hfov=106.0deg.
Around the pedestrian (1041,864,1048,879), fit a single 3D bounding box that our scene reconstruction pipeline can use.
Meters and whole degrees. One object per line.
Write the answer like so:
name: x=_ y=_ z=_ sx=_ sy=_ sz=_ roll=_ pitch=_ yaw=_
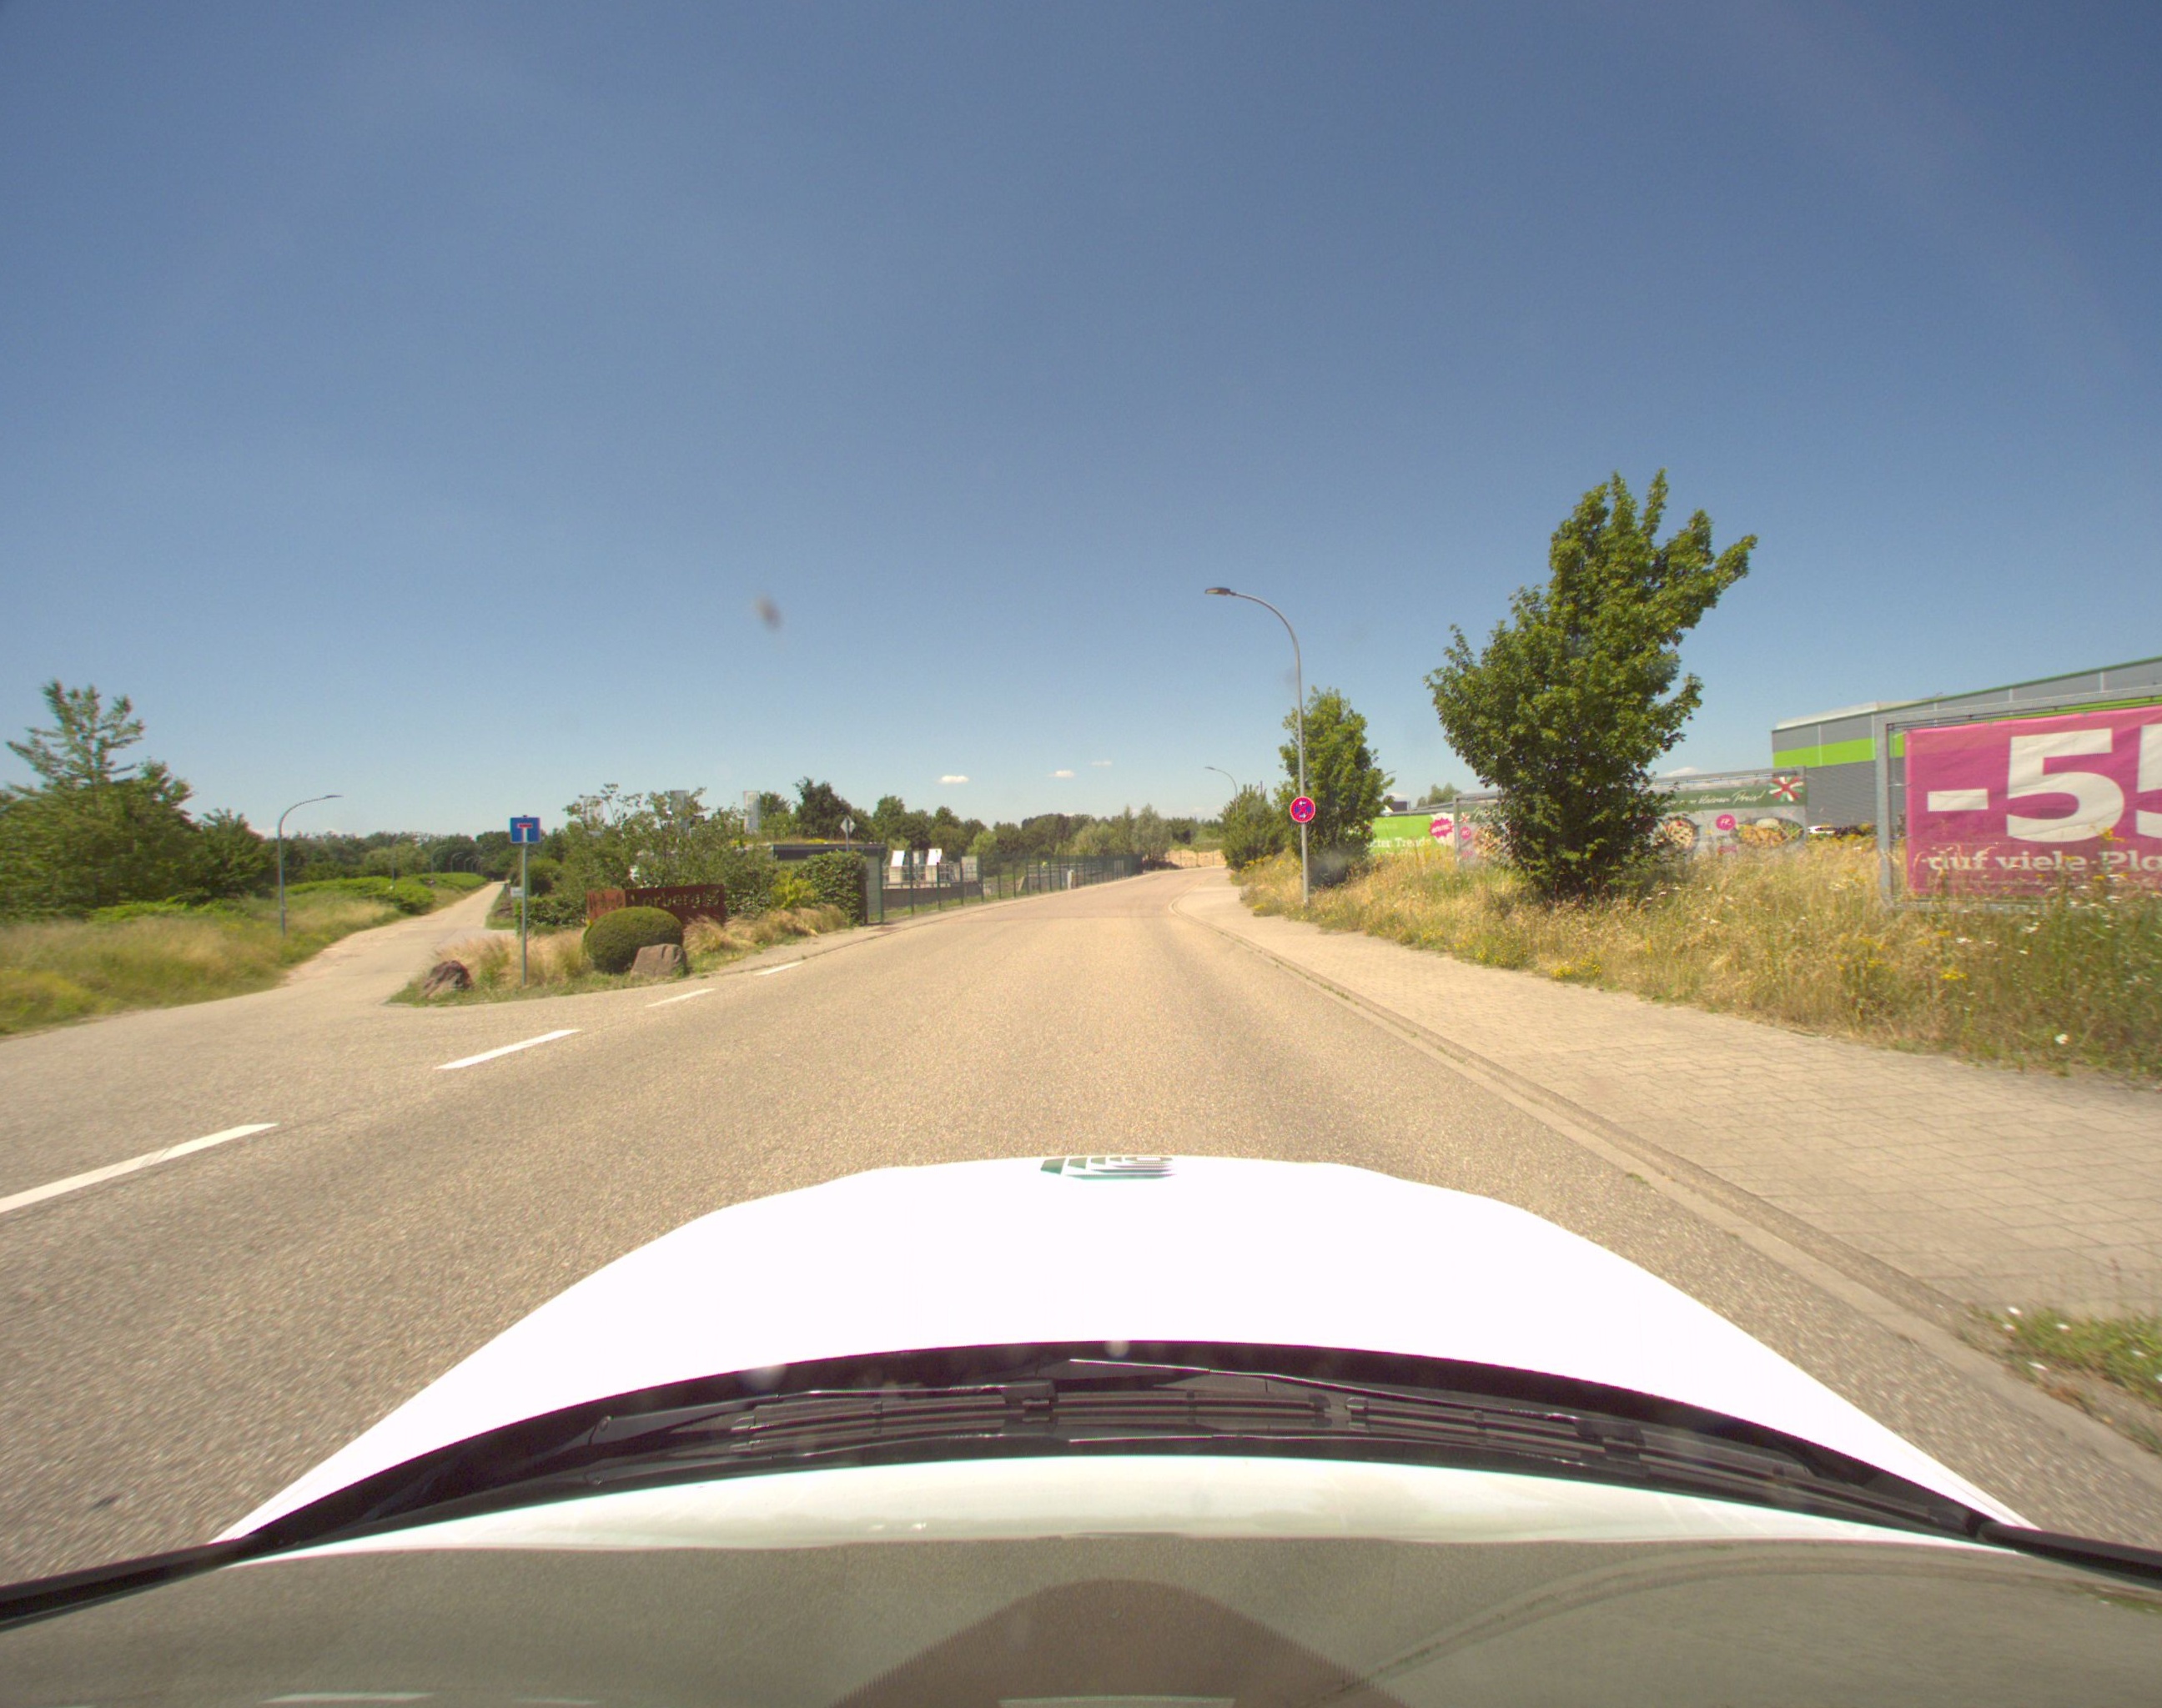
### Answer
pedestrian: x=-4.442 y=2.136 z=98.843 sx=0.602 sy=1.839 sz=0.807 roll=-3 pitch=-1 yaw=9
